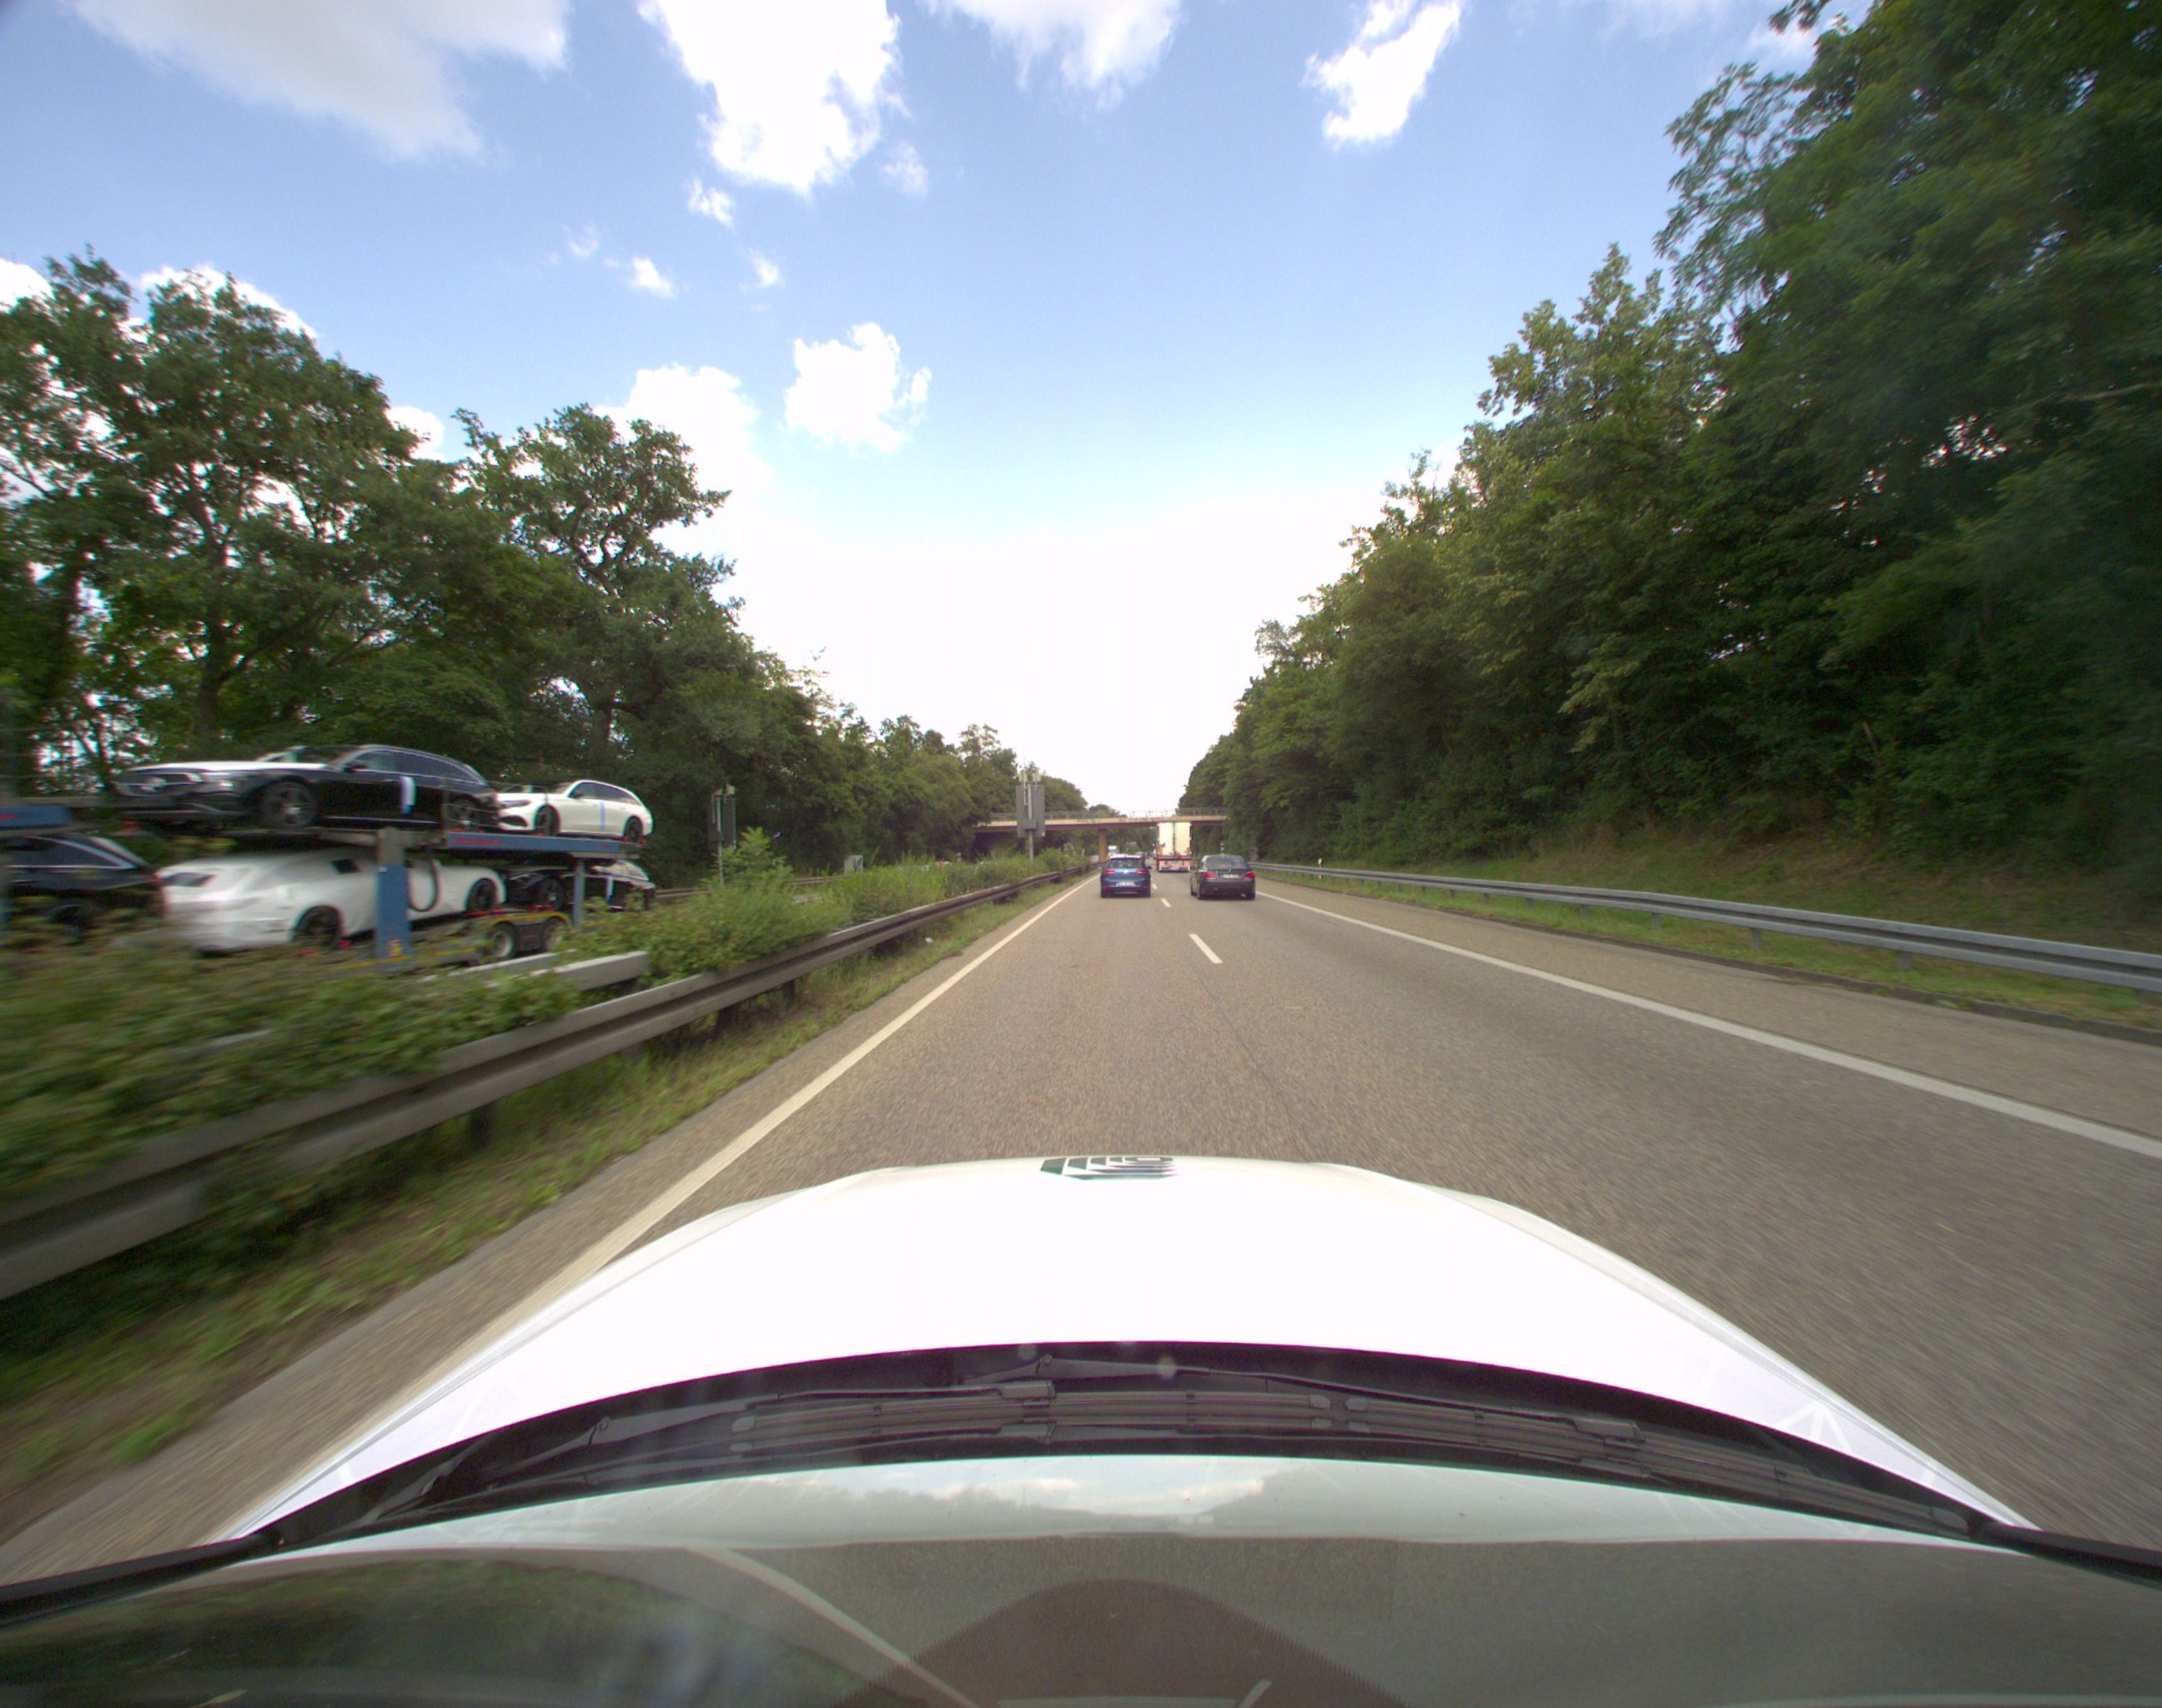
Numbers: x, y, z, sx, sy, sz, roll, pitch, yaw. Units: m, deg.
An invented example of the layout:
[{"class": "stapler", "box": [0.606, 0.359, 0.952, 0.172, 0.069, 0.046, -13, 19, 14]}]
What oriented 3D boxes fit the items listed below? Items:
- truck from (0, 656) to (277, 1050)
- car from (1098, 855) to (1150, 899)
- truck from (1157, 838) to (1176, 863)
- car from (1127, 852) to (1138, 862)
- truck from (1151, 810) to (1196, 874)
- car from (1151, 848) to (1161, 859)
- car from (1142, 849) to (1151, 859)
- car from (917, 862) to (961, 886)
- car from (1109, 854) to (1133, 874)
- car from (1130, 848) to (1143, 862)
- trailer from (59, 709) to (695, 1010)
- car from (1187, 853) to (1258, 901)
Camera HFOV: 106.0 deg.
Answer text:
[{"class": "truck", "box": [-12.122, 0.038, 5.421, 2.944, 3.855, 10.327, -3, 0, 2]}, {"class": "car", "box": [1.606, 0.761, 29.285, 1.697, 1.470, 4.006, 0, 0, 5]}, {"class": "truck", "box": [15.491, -0.502, 148.702, 3.216, 4.386, 12.989, -1, -1, 6]}, {"class": "car", "box": [9.600, 0.487, 151.866, 1.758, 1.772, 4.029, -2, 0, 5]}, {"class": "truck", "box": [7.516, -0.910, 66.849, 3.226, 4.716, 11.024, -2, 0, 6]}, {"class": "car", "box": [16.386, -0.177, 177.144, 1.985, 2.255, 4.447, -1, 1, 3]}, {"class": "car", "box": [16.116, 0.101, 199.622, 1.985, 2.327, 4.446, -2, 0, 3]}, {"class": "car", "box": [-9.160, 1.268, 52.856, 1.855, 1.353, 4.254, -2, 0, 3]}, {"class": "car", "box": [3.243, 0.764, 65.261, 1.657, 1.500, 4.159, -1, 0, 6]}, {"class": "car", "box": [8.752, 0.136, 128.726, 1.945, 2.013, 4.006, -2, 0, 5]}, {"class": "trailer", "box": [-11.705, 0.083, 15.834, 2.926, 3.833, 10.316, -3, 0, 2]}, {"class": "car", "box": [4.702, 0.706, 27.593, 1.767, 1.475, 4.883, 0, 0, 3]}]
